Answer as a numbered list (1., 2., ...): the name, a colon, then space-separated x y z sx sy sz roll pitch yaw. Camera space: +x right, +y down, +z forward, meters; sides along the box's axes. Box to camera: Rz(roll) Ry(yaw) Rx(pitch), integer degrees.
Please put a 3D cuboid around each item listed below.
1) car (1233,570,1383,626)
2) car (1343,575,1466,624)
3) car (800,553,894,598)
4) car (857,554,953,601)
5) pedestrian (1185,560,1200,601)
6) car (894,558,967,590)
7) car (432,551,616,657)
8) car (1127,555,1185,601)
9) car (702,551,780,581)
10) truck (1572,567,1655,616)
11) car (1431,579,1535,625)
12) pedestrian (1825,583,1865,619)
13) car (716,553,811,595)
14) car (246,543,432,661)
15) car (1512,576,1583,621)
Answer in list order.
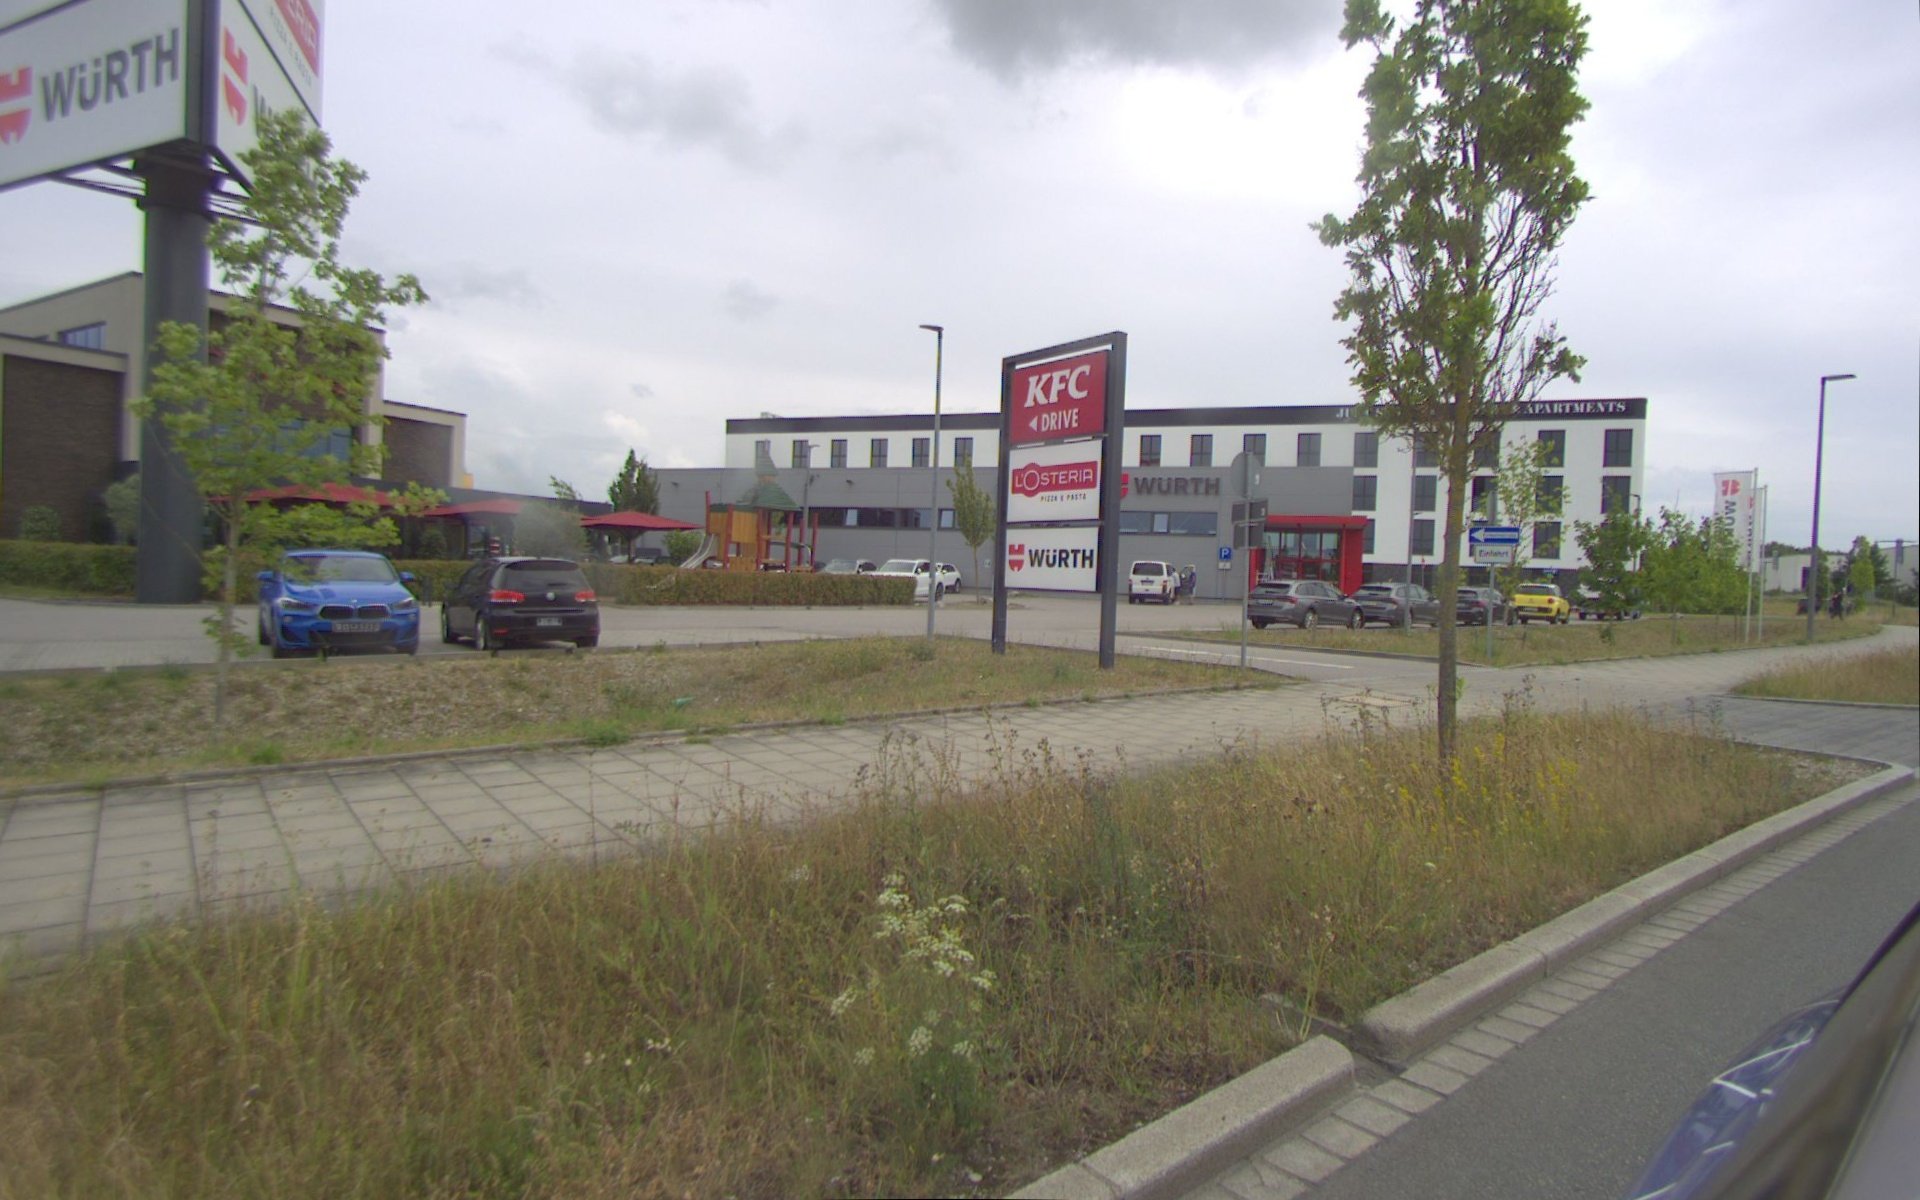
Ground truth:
1. car: 10.294 -0.061 29.744 4.745 1.478 1.966 1 2 -40
2. car: 14.640 -0.010 33.197 4.795 1.454 1.867 0 2 -42
3. car: -4.566 -1.015 41.601 2.106 1.698 4.511 2 1 19
4. car: -2.118 -0.895 40.518 1.977 1.718 4.756 2 2 23
5. pedestrian: 10.916 -0.924 47.569 0.606 1.892 0.797 2 1 17
6. car: -1.489 -1.371 53.087 2.058 1.537 4.541 3 3 23
7. car: -7.249 -0.021 16.596 1.944 1.512 4.000 0 2 -36
8. car: 9.338 -1.044 47.919 1.975 2.012 4.606 2 1 20
9. car: -12.322 -1.890 57.183 2.058 1.537 4.541 3 2 23
10. truck: 34.932 -0.445 53.950 2.227 2.354 8.084 3 2 44
11. car: 19.302 0.017 37.265 4.532 1.515 1.996 -1 3 -43
12. pedestrian: 49.006 0.043 56.072 1.171 1.880 1.076 1 3 -4
13. car: -8.350 -1.107 43.441 1.963 1.649 4.294 2 2 23
14. car: -9.615 -0.060 15.503 1.930 1.538 4.274 0 2 -38
15. car: 24.089 -0.087 41.428 1.760 1.707 4.348 3 2 40
